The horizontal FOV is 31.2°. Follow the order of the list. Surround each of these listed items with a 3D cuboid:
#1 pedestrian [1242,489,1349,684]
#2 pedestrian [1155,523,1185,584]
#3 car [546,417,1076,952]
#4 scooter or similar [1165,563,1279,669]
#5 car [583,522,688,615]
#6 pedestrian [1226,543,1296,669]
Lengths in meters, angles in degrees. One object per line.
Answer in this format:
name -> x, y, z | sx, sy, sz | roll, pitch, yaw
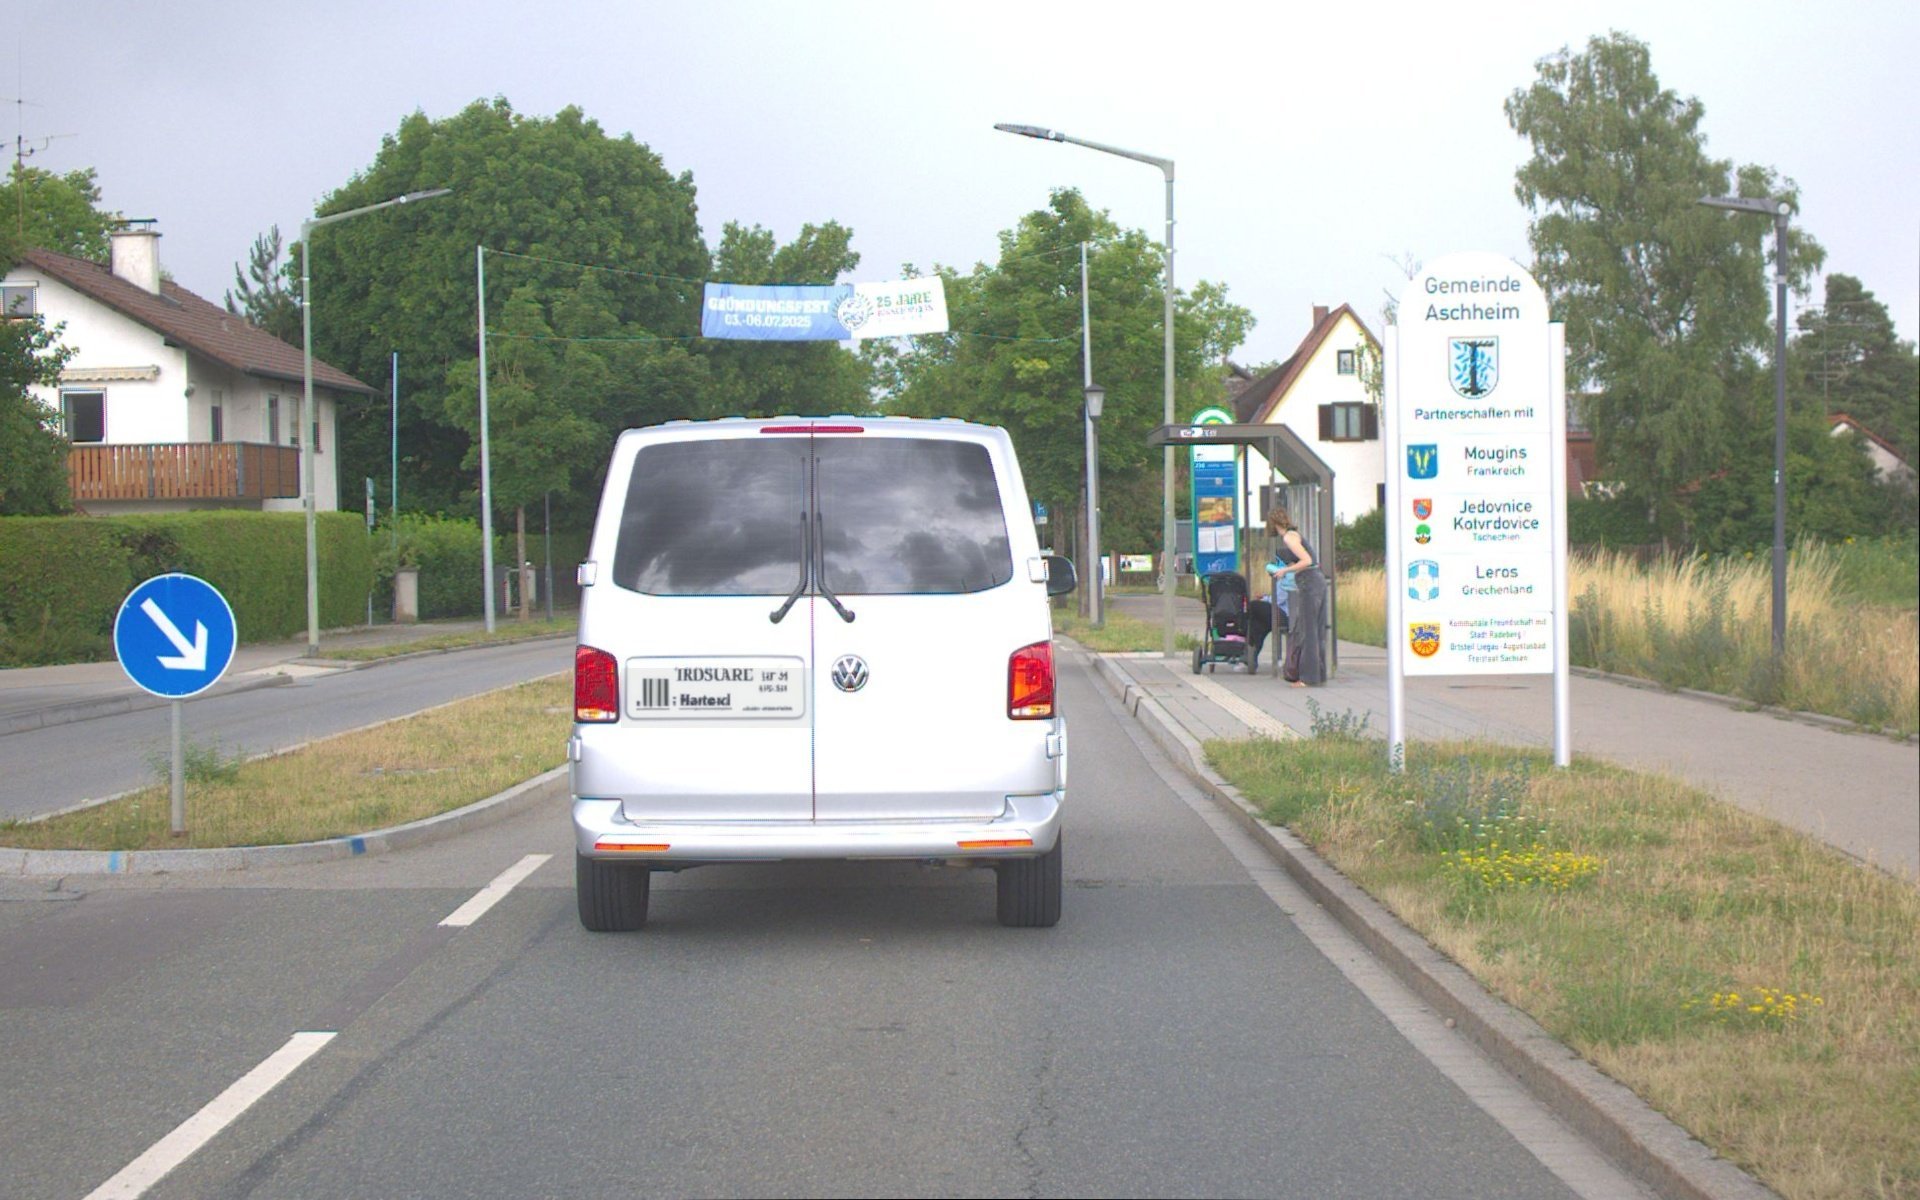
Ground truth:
pedestrian -> 3.152, -0.131, 32.241 | 0.782, 1.786, 0.778 | 1, 1, 21
pedestrian -> 6.037, -1.331, 98.930 | 0.837, 1.749, 0.869 | 0, 1, 5
car -> -0.552, 0.280, 14.256 | 1.888, 1.905, 4.000 | 0, 1, -1
scooter or similar -> 2.698, 0.159, 35.365 | 0.708, 1.058, 1.058 | 1, 1, 37
car -> -7.301, -0.746, 77.809 | 1.830, 2.023, 5.046 | 1, 1, 1
pedestrian -> 3.152, 0.058, 35.991 | 0.665, 1.298, 0.505 | 1, 1, 9
